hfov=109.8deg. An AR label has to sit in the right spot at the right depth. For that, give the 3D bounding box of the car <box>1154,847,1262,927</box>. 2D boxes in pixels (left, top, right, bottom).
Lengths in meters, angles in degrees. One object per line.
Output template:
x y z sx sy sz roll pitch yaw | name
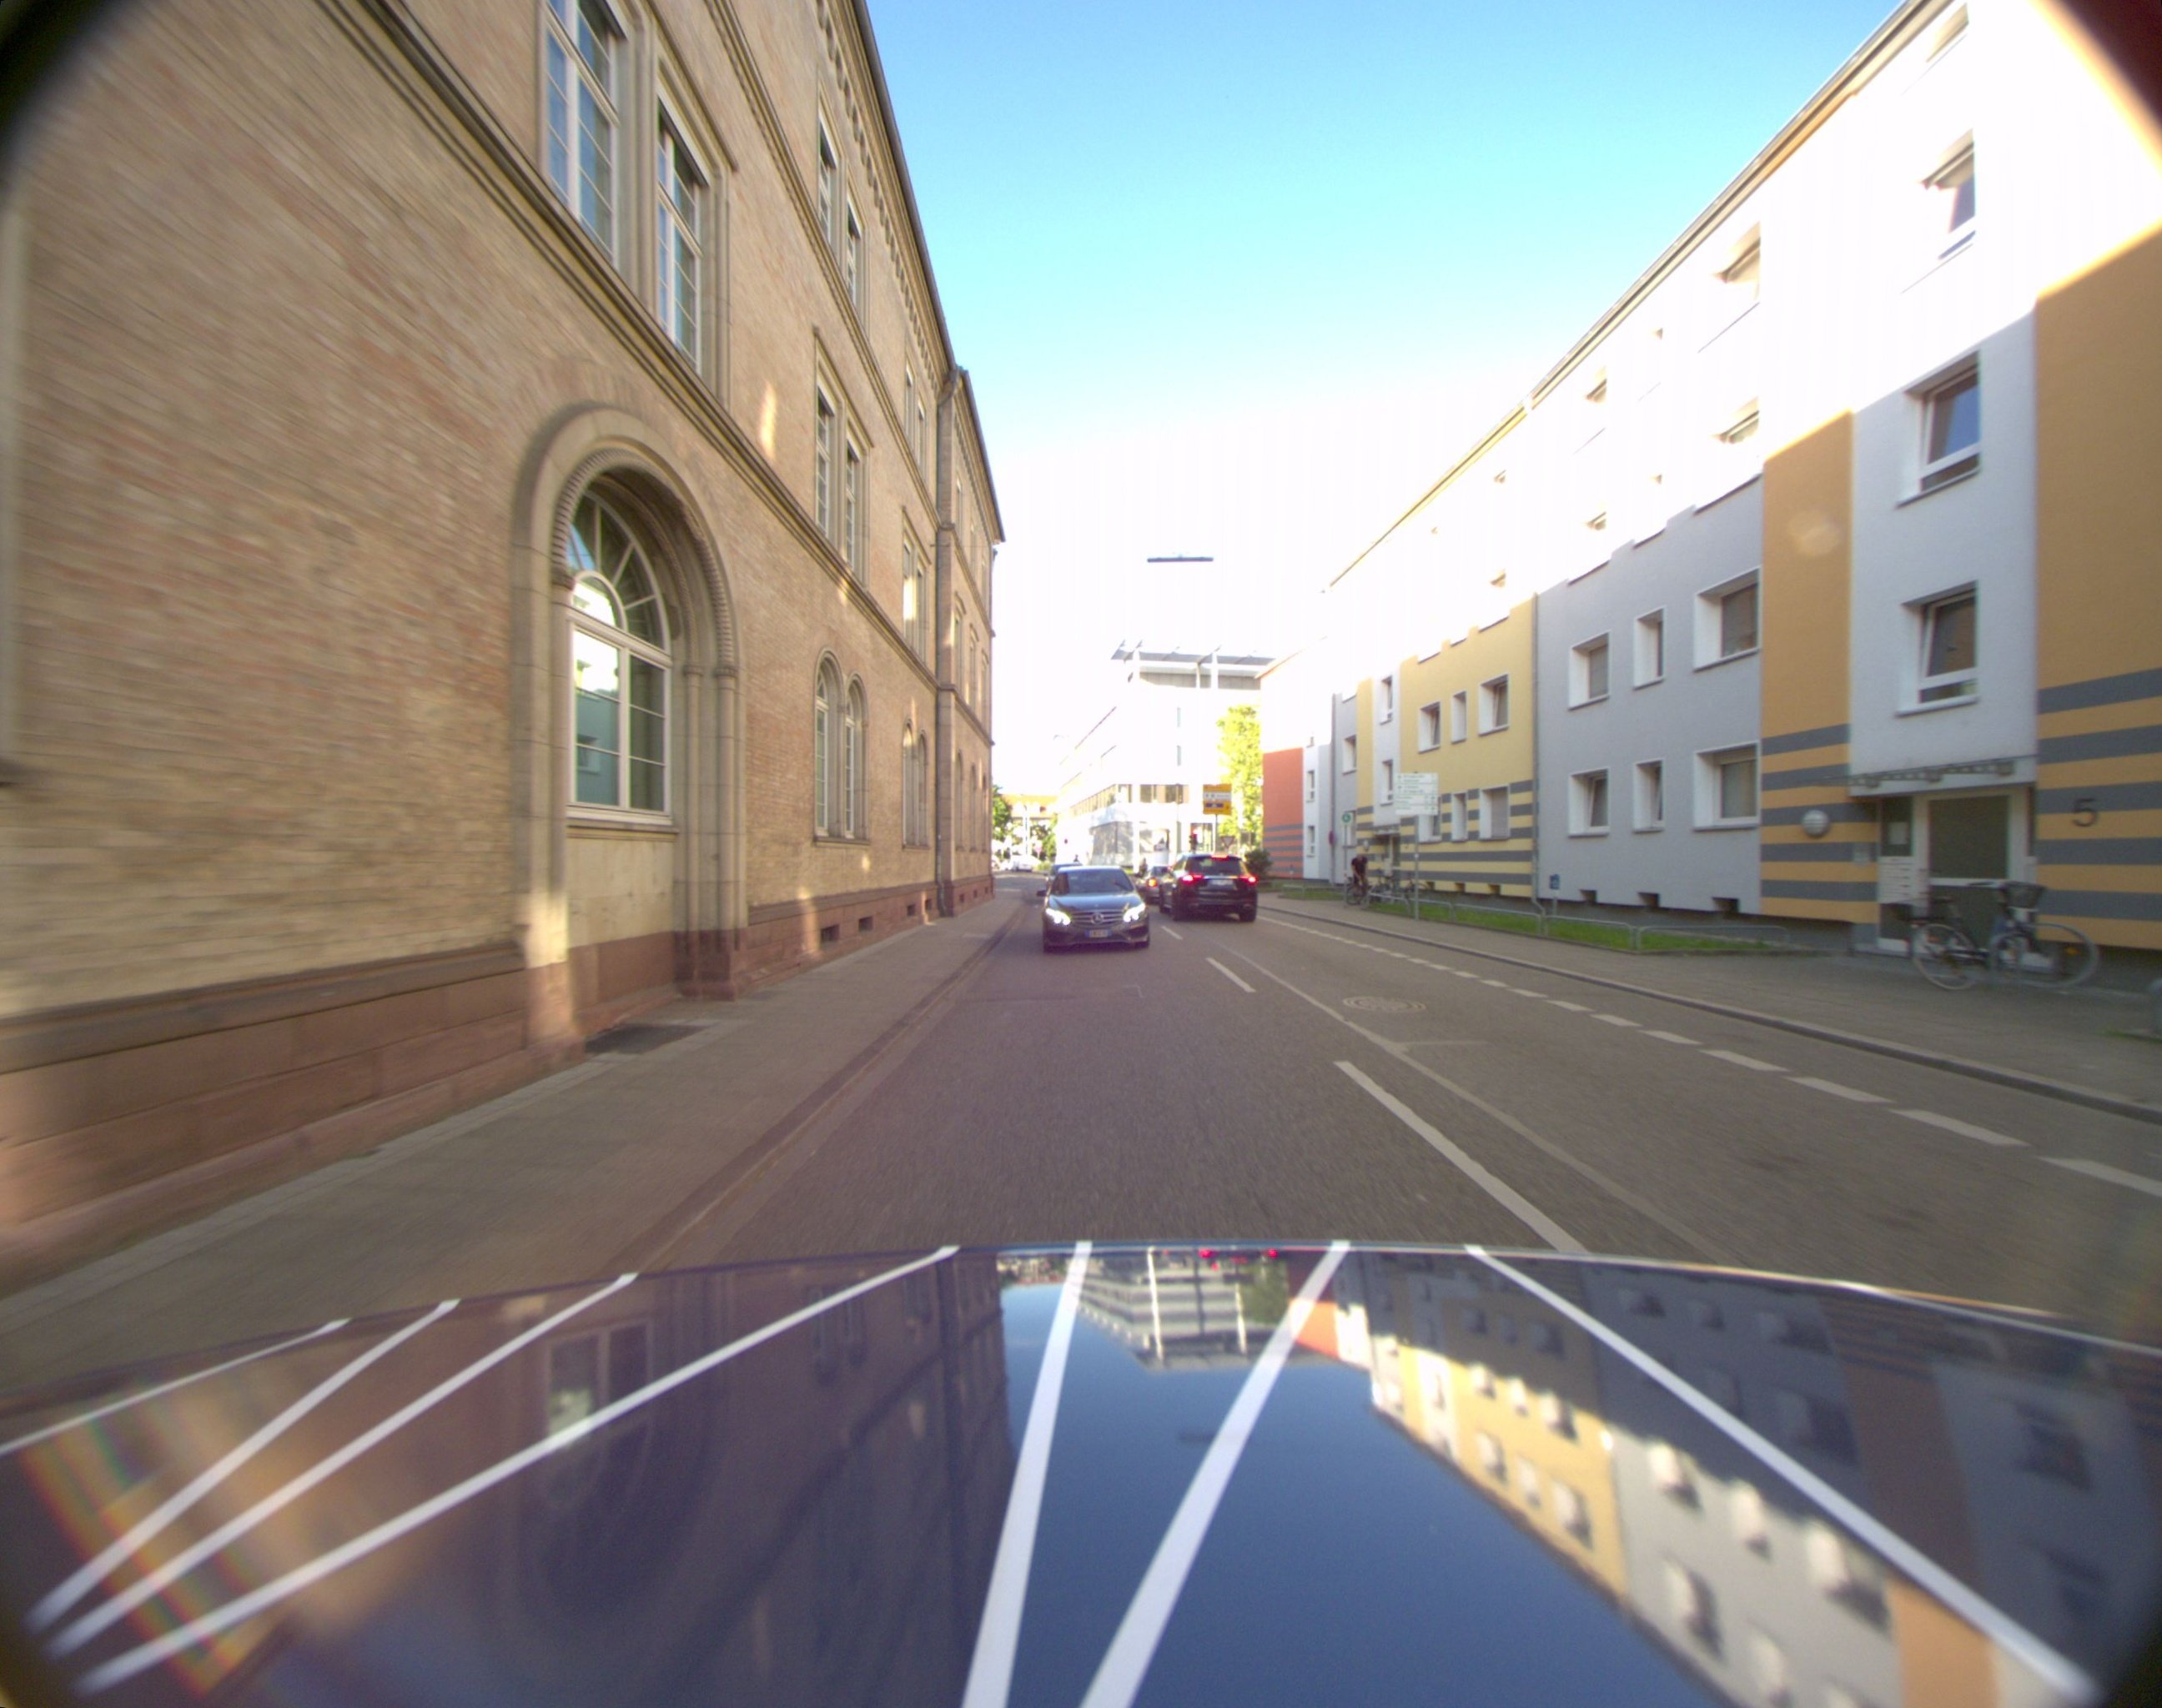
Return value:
3.221 0.791 20.379 1.905 1.824 5.094 2 0 -1 | car

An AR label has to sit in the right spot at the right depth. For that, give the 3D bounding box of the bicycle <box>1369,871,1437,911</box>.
9.434 1.066 22.299 1.757 1.138 0.650 0 0 -8 | bicycle

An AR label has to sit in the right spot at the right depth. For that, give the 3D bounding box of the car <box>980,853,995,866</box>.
-15.050 0.923 121.912 2.001 2.001 3.997 0 -2 -12 | car

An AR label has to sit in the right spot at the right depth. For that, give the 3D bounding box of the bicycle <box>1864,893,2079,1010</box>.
9.497 1.006 8.128 1.757 1.138 0.650 0 0 -8 | bicycle

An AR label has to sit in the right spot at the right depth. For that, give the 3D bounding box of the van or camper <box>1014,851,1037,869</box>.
-6.694 0.700 91.695 2.163 2.002 4.971 0 0 -11 | van or camper

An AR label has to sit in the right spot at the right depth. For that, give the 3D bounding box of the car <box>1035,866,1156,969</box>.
0.340 1.011 14.017 1.798 1.460 4.720 -2 0 3 | car

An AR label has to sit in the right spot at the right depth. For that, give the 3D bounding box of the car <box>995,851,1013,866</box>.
-10.339 0.616 101.407 2.001 2.002 3.996 0 0 -12 | car

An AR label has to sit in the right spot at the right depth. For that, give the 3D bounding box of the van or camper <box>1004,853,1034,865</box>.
-10.554 0.856 128.749 4.737 2.074 1.996 0 0 -21 | van or camper

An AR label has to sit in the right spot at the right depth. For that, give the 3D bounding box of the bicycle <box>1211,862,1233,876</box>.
11.721 1.252 63.365 0.471 1.175 1.987 -1 1 -39 | bicycle

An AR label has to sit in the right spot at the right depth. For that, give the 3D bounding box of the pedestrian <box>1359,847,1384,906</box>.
9.179 0.692 24.026 0.720 1.844 0.871 0 0 21 | pedestrian

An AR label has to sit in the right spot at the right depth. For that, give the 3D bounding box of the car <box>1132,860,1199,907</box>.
2.950 0.997 27.303 1.746 1.477 4.136 2 0 -2 | car

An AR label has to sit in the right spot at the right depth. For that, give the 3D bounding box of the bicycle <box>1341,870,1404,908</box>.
9.075 1.075 23.671 1.757 1.138 0.650 0 0 -8 | bicycle

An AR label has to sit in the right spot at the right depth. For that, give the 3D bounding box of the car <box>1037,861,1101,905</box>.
-0.406 1.109 30.505 1.745 1.594 4.003 0 0 11 | car
